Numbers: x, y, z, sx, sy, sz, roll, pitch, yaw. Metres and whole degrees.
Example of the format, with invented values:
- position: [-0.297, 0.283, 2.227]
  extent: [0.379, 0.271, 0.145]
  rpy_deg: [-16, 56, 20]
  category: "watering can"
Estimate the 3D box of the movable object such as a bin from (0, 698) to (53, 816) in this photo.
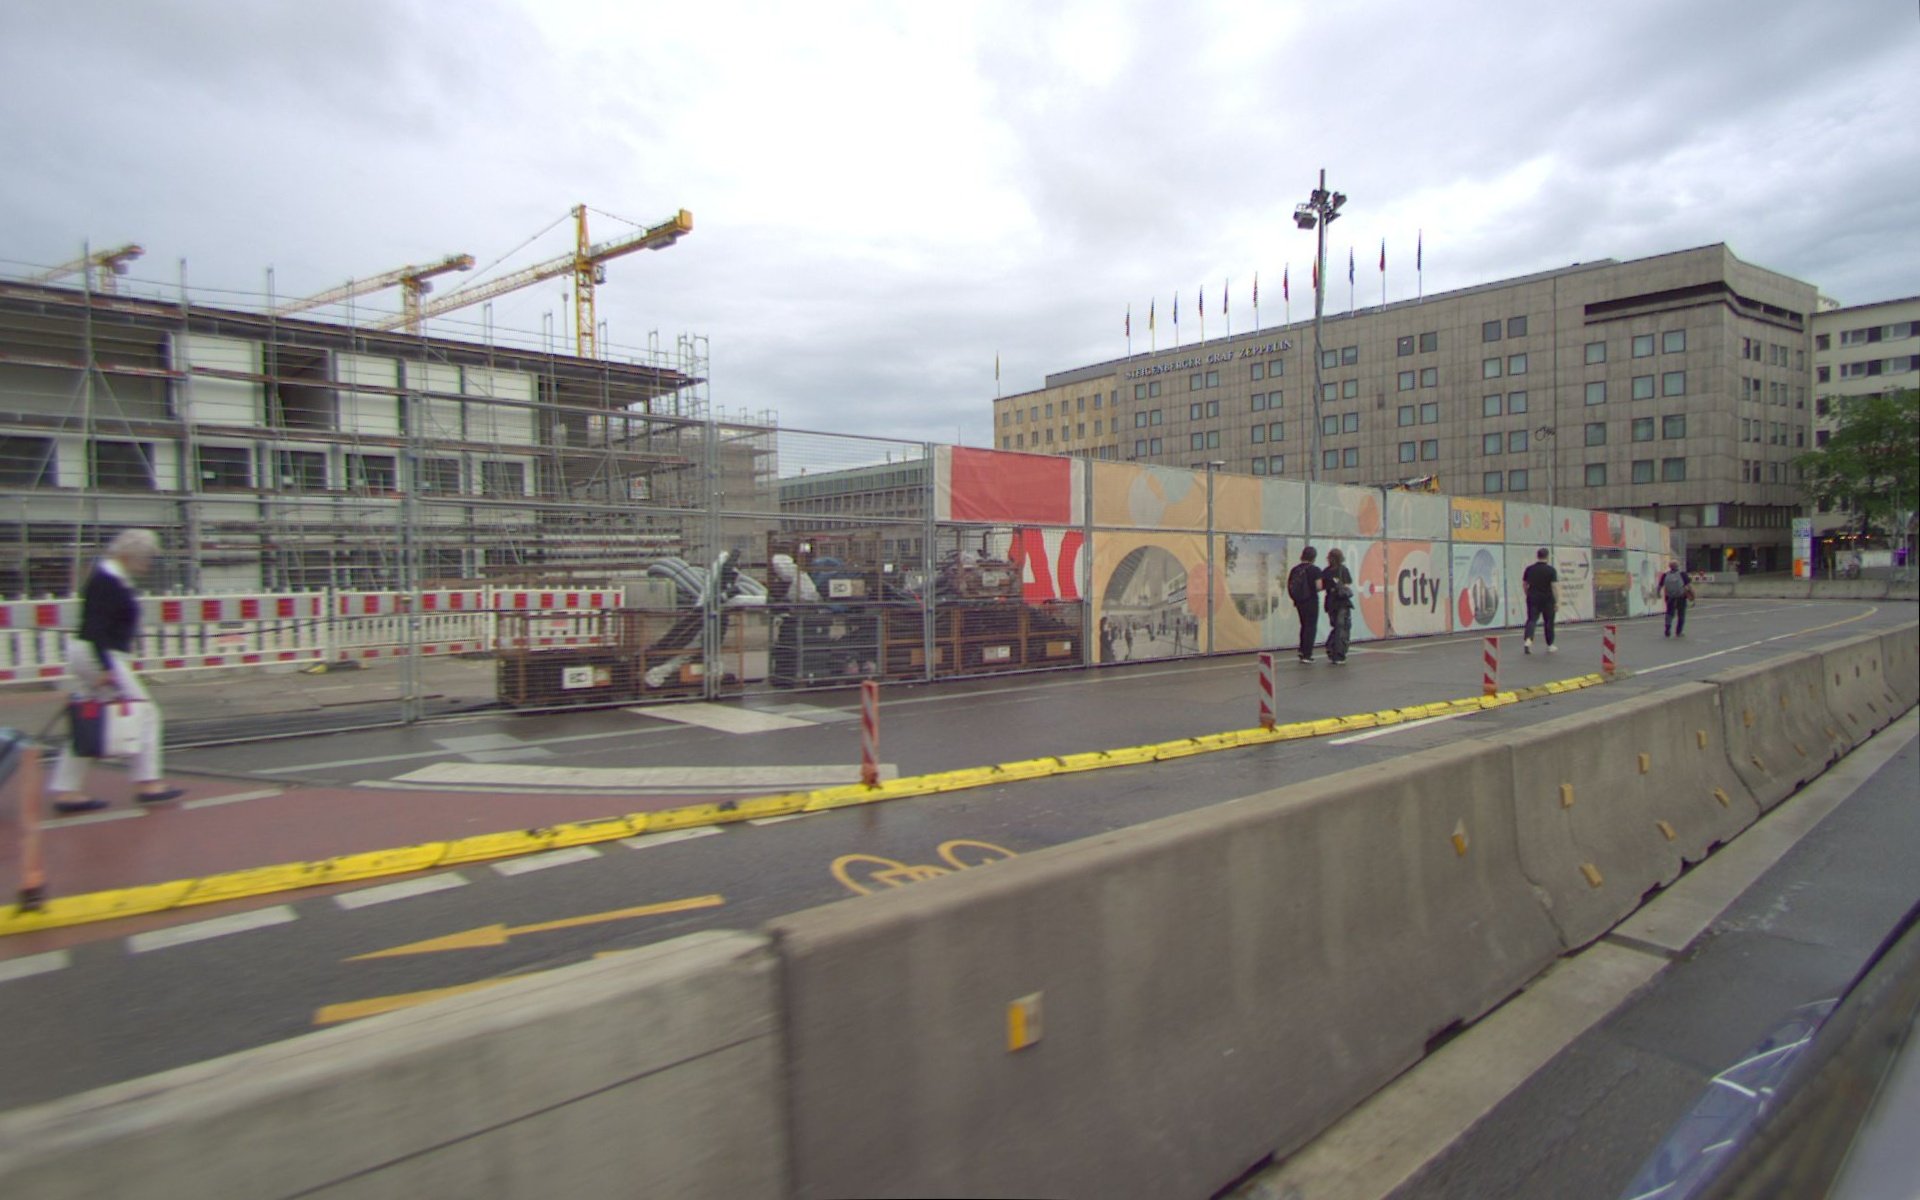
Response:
- position: [-5.768, 0.944, 6.016]
  extent: [0.433, 0.632, 0.526]
  rpy_deg: [-1, 2, 45]
  category: "movable object such as a bin"

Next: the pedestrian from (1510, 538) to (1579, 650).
- position: [10.264, -0.117, 17.778]
  extent: [0.805, 1.901, 0.798]
  rpy_deg: [-3, 2, -39]
  category: "pedestrian"

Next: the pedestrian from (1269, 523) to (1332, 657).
- position: [5.345, -0.162, 15.882]
  extent: [0.674, 2.039, 0.680]
  rpy_deg: [-1, 1, -40]
  category: "pedestrian"

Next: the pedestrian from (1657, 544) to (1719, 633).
- position: [15.669, -0.245, 21.775]
  extent: [0.674, 1.856, 0.927]
  rpy_deg: [-3, 2, -39]
  category: "pedestrian"

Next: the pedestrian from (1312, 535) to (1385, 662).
- position: [5.889, -0.029, 15.333]
  extent: [0.615, 1.856, 0.798]
  rpy_deg: [-3, 2, -39]
  category: "pedestrian"

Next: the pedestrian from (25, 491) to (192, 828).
- position: [-5.151, 0.321, 6.124]
  extent: [0.665, 1.885, 0.672]
  rpy_deg: [-1, 1, 45]
  category: "pedestrian"
